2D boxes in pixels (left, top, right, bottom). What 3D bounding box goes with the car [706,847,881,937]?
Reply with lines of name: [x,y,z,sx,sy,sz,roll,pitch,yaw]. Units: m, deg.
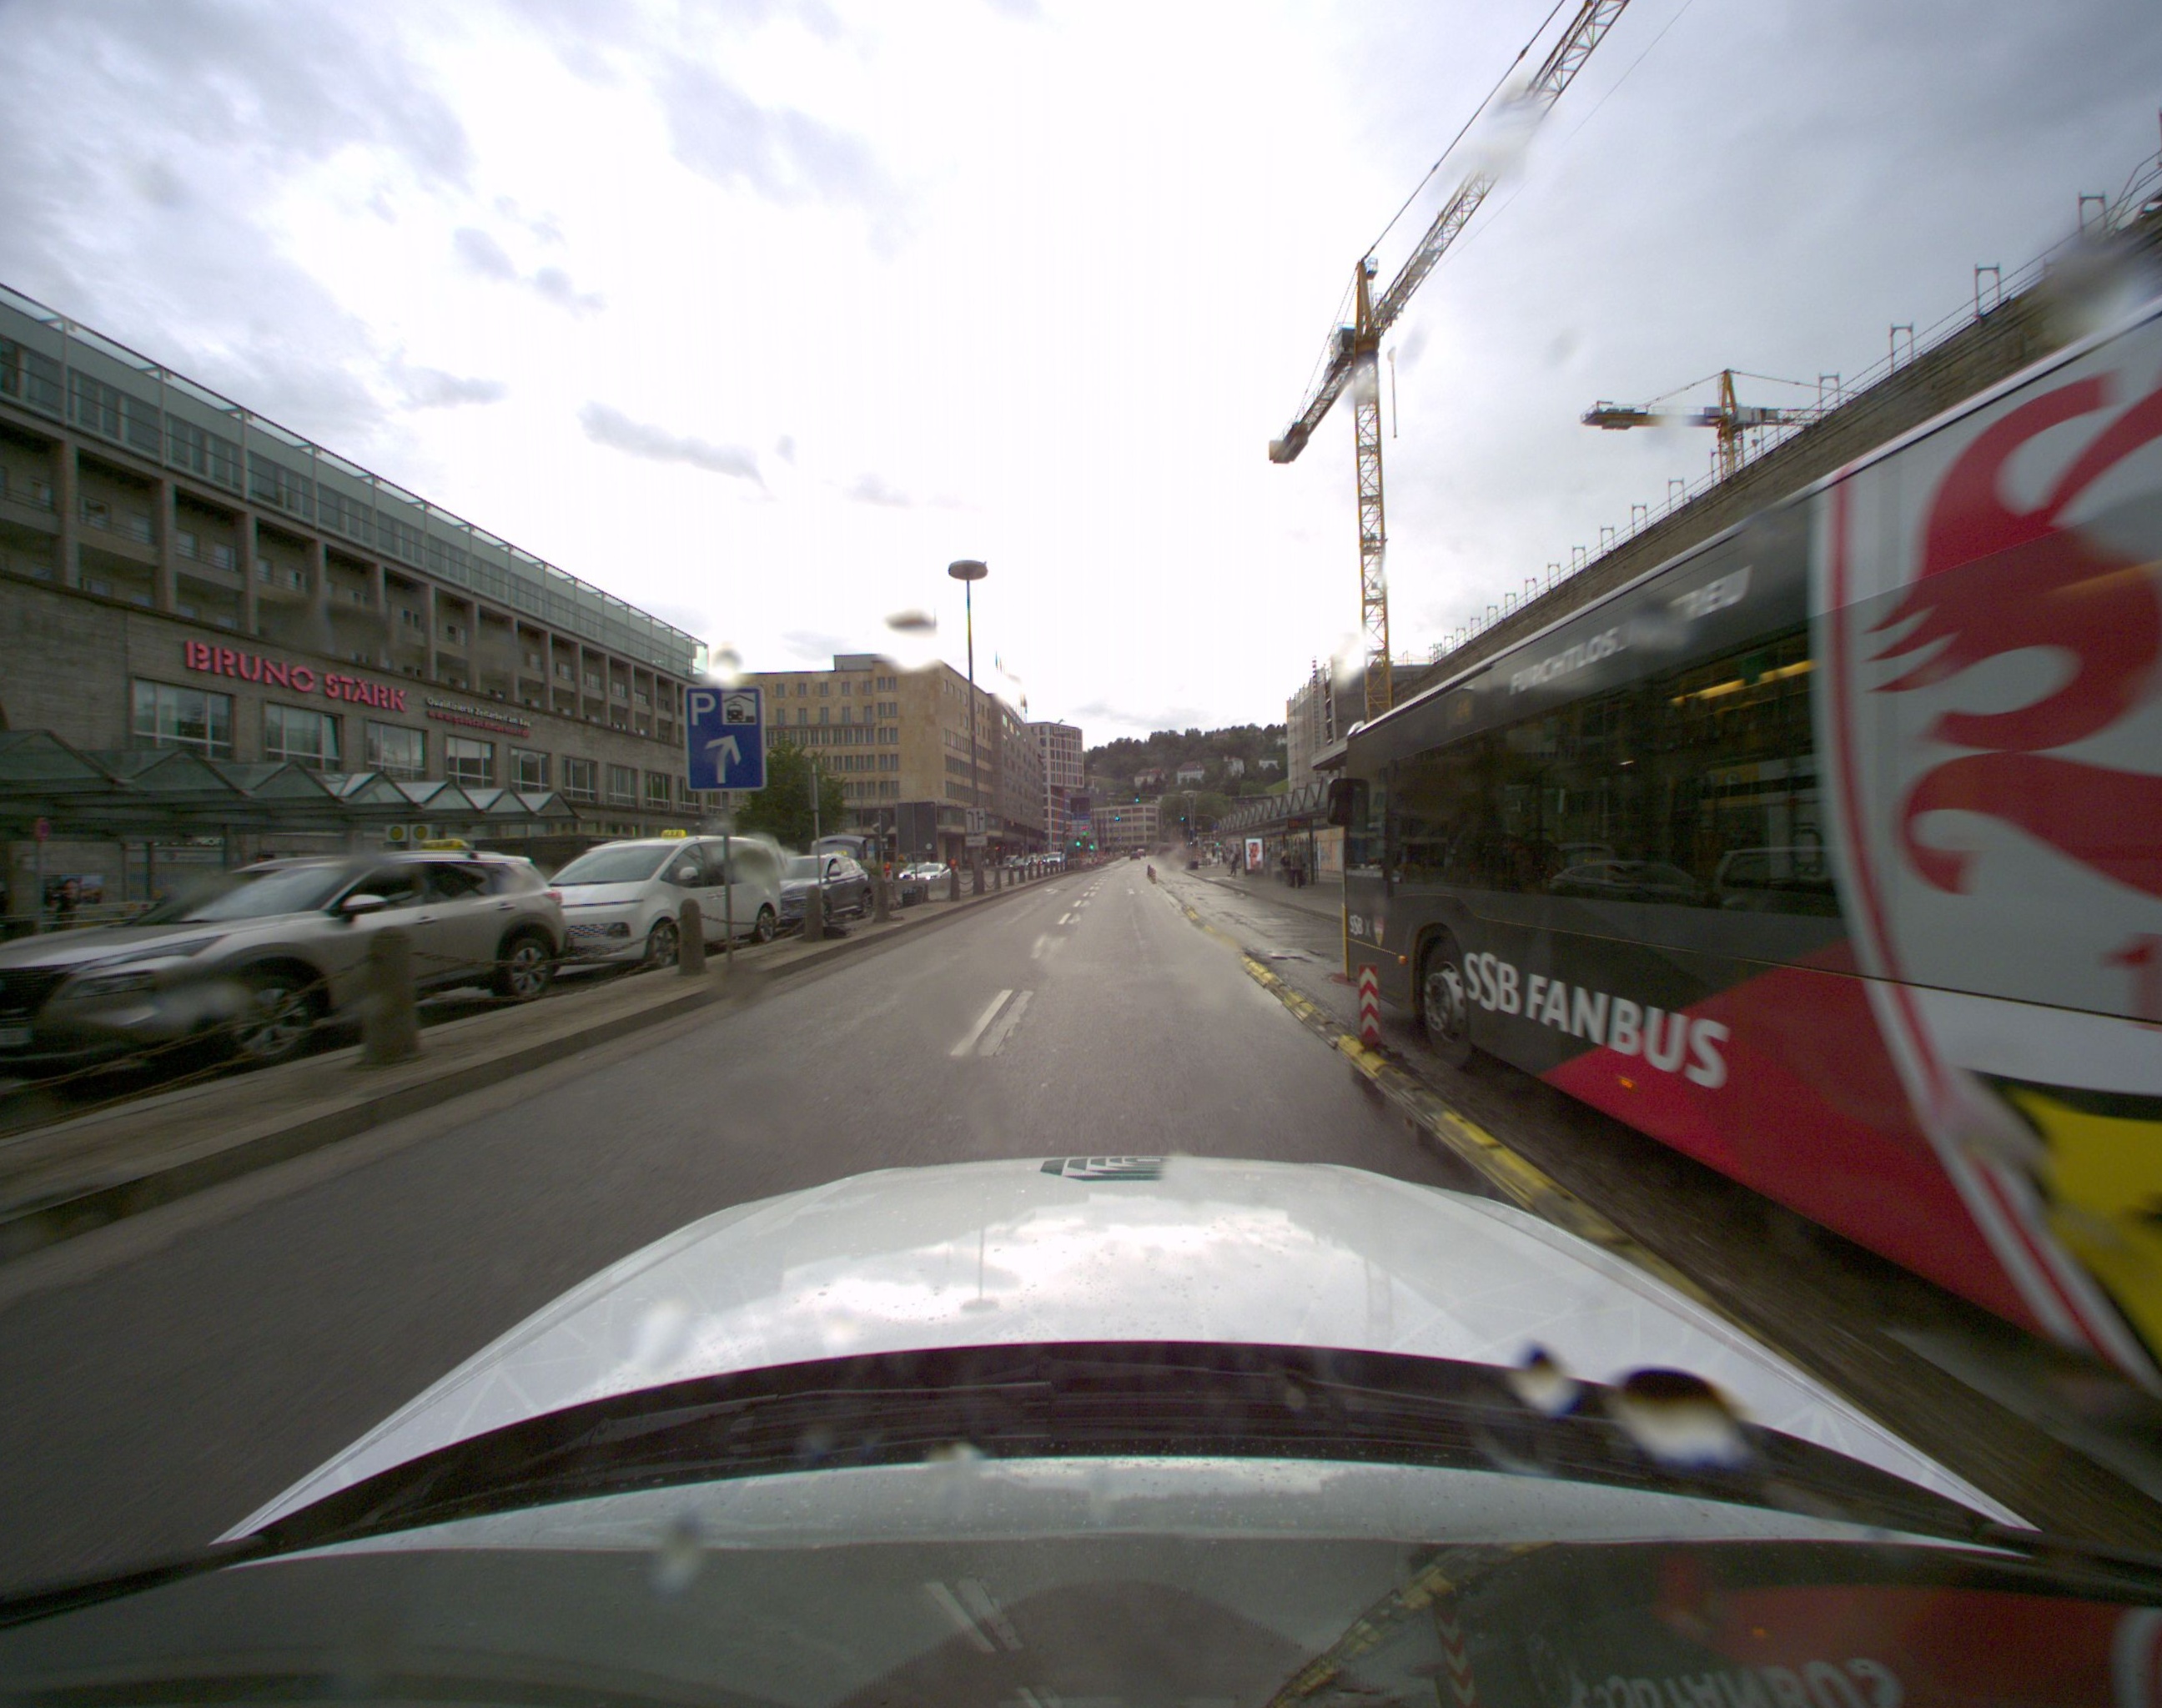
car: [-6.246,0.751,18.419,1.985,1.722,4.786,-2,0,3]

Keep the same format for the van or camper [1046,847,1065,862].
van or camper: [-3.472,0.068,113.320,1.984,2.014,5.197,-1,-1,5]

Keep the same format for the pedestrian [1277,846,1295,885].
pedestrian: [8.489,0.470,33.729,0.519,1.566,0.729,-1,0,2]

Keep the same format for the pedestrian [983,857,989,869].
pedestrian: [-13.185,1.221,113.029,0.717,1.557,0.896,-2,-1,6]

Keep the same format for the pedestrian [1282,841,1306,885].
pedestrian: [8.479,0.345,32.430,0.759,1.693,0.822,-1,0,2]

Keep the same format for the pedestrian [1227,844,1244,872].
pedestrian: [9.558,0.263,50.323,0.704,1.679,0.717,-1,0,-24]

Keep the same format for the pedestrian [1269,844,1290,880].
pedestrian: [9.296,0.363,38.212,0.805,1.660,0.805,0,0,2]

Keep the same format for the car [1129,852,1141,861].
car: [9.798,0.423,147.422,1.985,1.552,4.002,-2,-1,3]

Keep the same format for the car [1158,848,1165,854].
car: [19.997,-0.839,202.528,1.811,1.442,4.004,0,0,4]

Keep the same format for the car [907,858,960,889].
car: [-8.554,1.089,47.680,1.954,1.564,4.838,-3,0,2]

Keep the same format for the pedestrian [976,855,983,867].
pedestrian: [-14.112,0.998,113.127,0.717,1.557,0.907,-2,-1,6]

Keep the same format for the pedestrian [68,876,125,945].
pedestrian: [-30.197,1.710,24.990,0.800,2.041,0.772,-2,-1,4]

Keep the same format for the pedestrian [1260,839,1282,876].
pedestrian: [10.704,0.198,45.862,0.808,2.050,0.916,0,0,-37]

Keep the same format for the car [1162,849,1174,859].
car: [15.528,-0.064,145.335,1.985,1.706,4.004,-2,-1,4]

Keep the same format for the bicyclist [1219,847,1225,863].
bicyclist: [15.815,0.125,91.498,0.699,1.845,0.970,-1,-1,9]

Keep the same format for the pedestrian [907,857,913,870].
pedestrian: [-21.963,1.274,104.567,0.696,1.644,0.647,-2,-1,-14]

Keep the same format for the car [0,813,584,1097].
car: [-7.121,0.702,7.598,1.922,1.806,4.585,-3,-1,3]

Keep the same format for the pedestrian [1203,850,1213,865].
pedestrian: [13.764,0.409,88.081,0.787,1.608,0.841,-2,-1,34]

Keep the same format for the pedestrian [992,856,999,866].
pedestrian: [-13.113,1.017,124.478,0.790,1.526,0.918,-2,-1,6]

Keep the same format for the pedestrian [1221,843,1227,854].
pedestrian: [25.041,-0.912,142.158,0.940,1.841,0.870,-2,-1,11]

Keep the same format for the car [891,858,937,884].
car: [-11.433,1.118,56.062,1.954,1.564,4.838,-3,0,2]

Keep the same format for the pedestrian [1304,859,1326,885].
pedestrian: [11.489,0.891,40.011,0.909,1.230,0.841,0,0,3]

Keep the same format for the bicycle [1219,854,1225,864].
bicycle: [15.829,0.573,91.542,0.703,1.049,1.811,0,1,9]

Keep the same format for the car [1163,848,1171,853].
car: [23.207,-1.028,220.696,1.985,1.442,4.004,0,0,3]

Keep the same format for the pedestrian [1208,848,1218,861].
pedestrian: [18.606,0.088,114.644,0.937,1.841,0.953,-2,-1,35]

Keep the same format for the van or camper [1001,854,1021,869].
van or camper: [-9.944,1.100,116.348,1.984,2.014,4.971,-2,-1,4]

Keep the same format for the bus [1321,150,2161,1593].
bus: [3.775,0.060,4.258,2.744,3.066,8.997,0,-1,2]

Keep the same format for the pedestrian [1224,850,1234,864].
pedestrian: [17.192,0.393,94.462,0.787,1.608,0.841,-2,-1,33]

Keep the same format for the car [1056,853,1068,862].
car: [-3.573,0.682,154.865,1.760,1.609,4.232,-2,-1,5]

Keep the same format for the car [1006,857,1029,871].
car: [-7.751,1.204,100.003,1.984,1.617,4.985,-2,-1,6]

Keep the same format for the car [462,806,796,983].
car: [-6.700,0.517,13.068,1.985,2.178,5.548,-2,0,3]

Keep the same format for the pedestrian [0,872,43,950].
pedestrian: [-30.144,1.589,22.844,0.763,2.126,0.982,-2,-1,11]

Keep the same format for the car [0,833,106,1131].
car: [-7.190,0.758,2.699,1.923,1.699,4.886,-3,-1,1]
